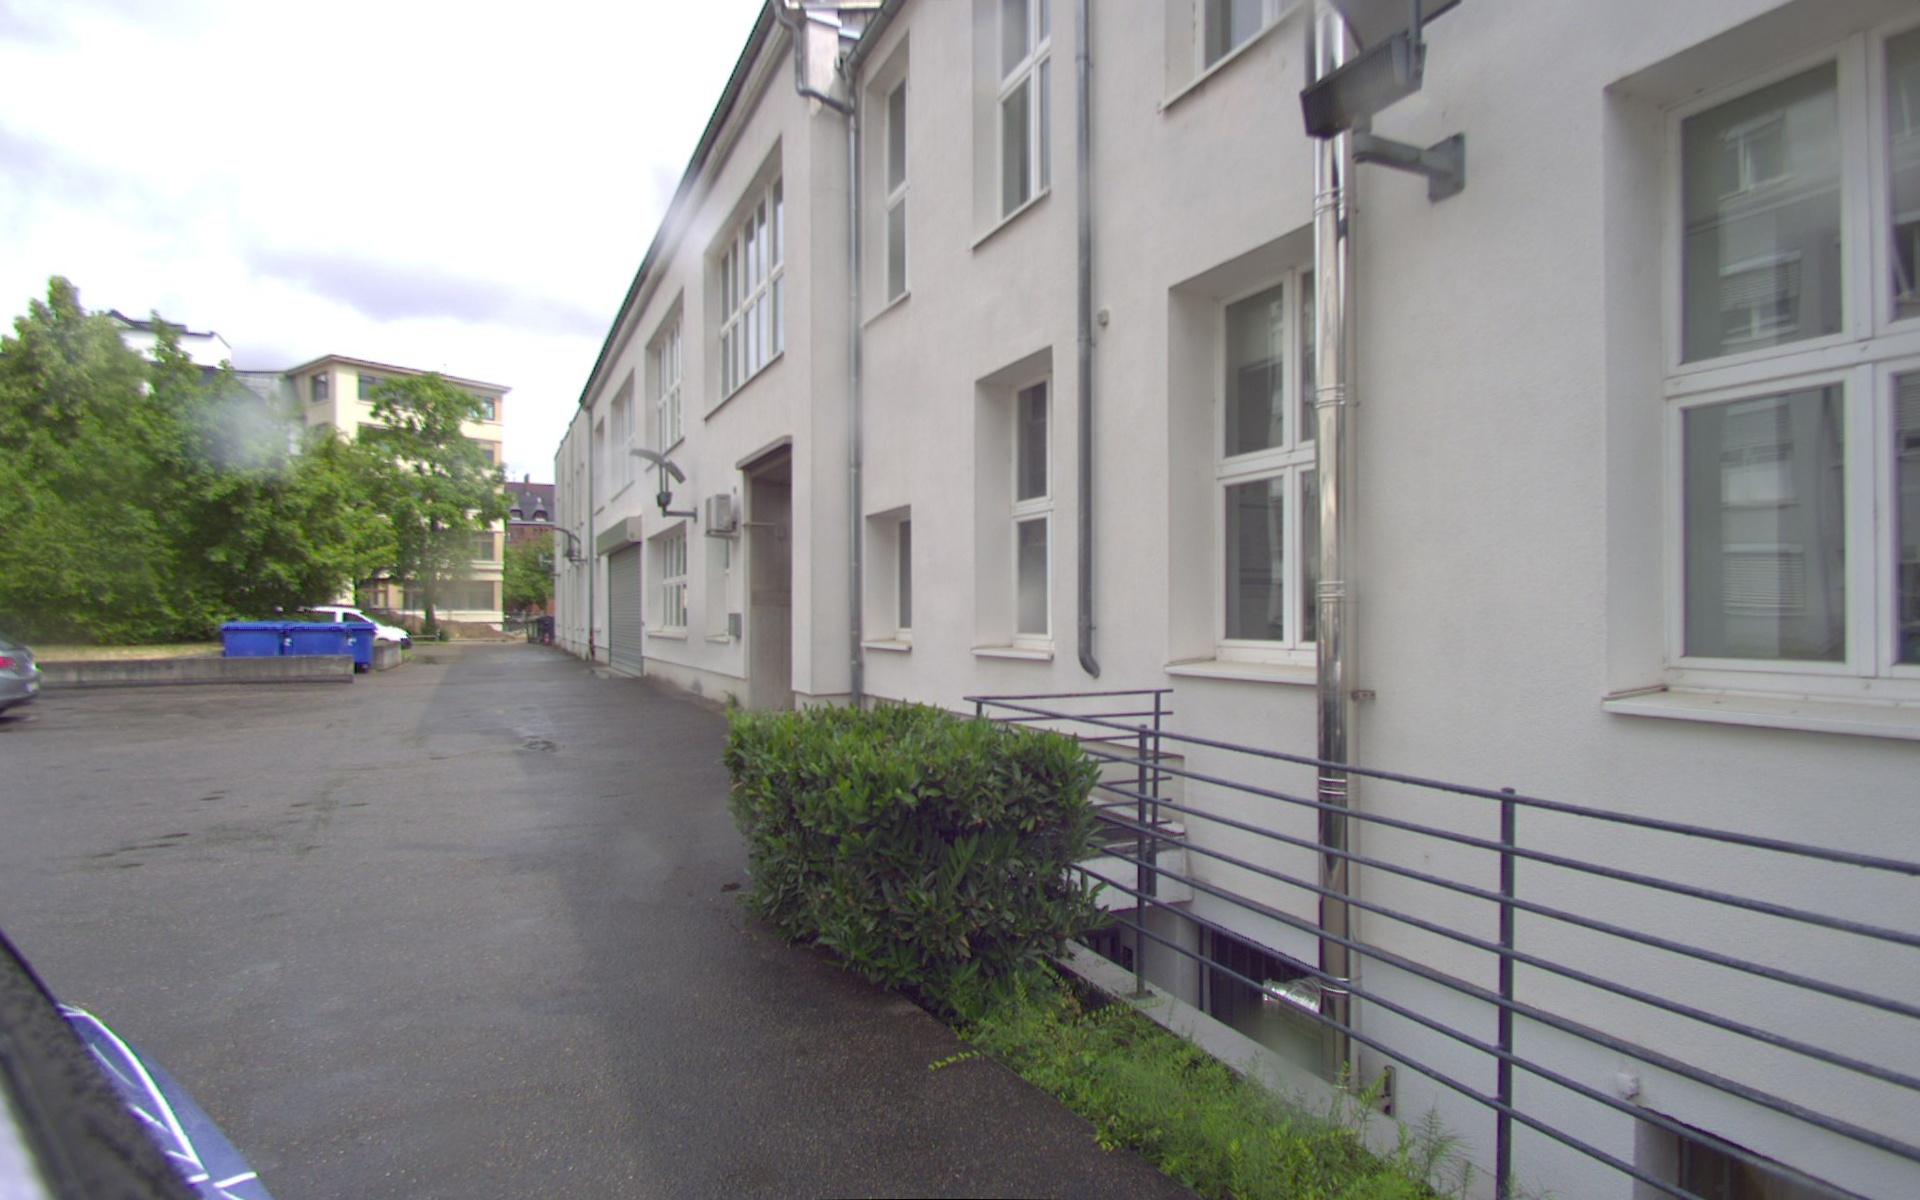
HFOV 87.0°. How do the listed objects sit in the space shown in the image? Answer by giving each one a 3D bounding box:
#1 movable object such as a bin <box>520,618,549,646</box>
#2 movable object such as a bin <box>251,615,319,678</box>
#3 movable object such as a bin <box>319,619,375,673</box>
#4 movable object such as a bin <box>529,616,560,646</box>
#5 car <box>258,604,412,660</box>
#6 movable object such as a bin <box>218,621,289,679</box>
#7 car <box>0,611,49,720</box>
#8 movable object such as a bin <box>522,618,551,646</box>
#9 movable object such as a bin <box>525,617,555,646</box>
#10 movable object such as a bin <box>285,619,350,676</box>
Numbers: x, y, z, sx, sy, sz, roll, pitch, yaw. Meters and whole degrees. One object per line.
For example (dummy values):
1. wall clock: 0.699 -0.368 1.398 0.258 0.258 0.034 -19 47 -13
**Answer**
1. movable object such as a bin: -23.934 1.798 56.926 1.389 1.482 1.566 -1 -1 -26
2. movable object such as a bin: -16.998 1.154 25.522 1.257 1.494 1.105 -1 -2 -26
3. movable object such as a bin: -15.945 1.179 26.359 1.158 1.327 1.059 -1 -2 -26
4. movable object such as a bin: -21.076 1.574 51.361 1.340 1.482 1.370 -1 -2 -26
5. car: -24.245 1.219 39.500 4.867 2.029 2.007 0 -1 -22
6. movable object such as a bin: -16.702 1.170 23.961 1.212 1.327 1.059 1 -3 -26
7. car: -15.196 0.874 13.660 4.023 1.469 1.673 1 -1 -30
8. movable object such as a bin: -23.181 1.739 55.435 1.340 1.482 1.469 -1 -1 -26
9. movable object such as a bin: -21.954 1.638 52.854 1.340 1.482 1.370 -1 -2 -26
10. movable object such as a bin: -15.555 1.148 24.542 1.212 1.327 1.059 1 -3 -26
